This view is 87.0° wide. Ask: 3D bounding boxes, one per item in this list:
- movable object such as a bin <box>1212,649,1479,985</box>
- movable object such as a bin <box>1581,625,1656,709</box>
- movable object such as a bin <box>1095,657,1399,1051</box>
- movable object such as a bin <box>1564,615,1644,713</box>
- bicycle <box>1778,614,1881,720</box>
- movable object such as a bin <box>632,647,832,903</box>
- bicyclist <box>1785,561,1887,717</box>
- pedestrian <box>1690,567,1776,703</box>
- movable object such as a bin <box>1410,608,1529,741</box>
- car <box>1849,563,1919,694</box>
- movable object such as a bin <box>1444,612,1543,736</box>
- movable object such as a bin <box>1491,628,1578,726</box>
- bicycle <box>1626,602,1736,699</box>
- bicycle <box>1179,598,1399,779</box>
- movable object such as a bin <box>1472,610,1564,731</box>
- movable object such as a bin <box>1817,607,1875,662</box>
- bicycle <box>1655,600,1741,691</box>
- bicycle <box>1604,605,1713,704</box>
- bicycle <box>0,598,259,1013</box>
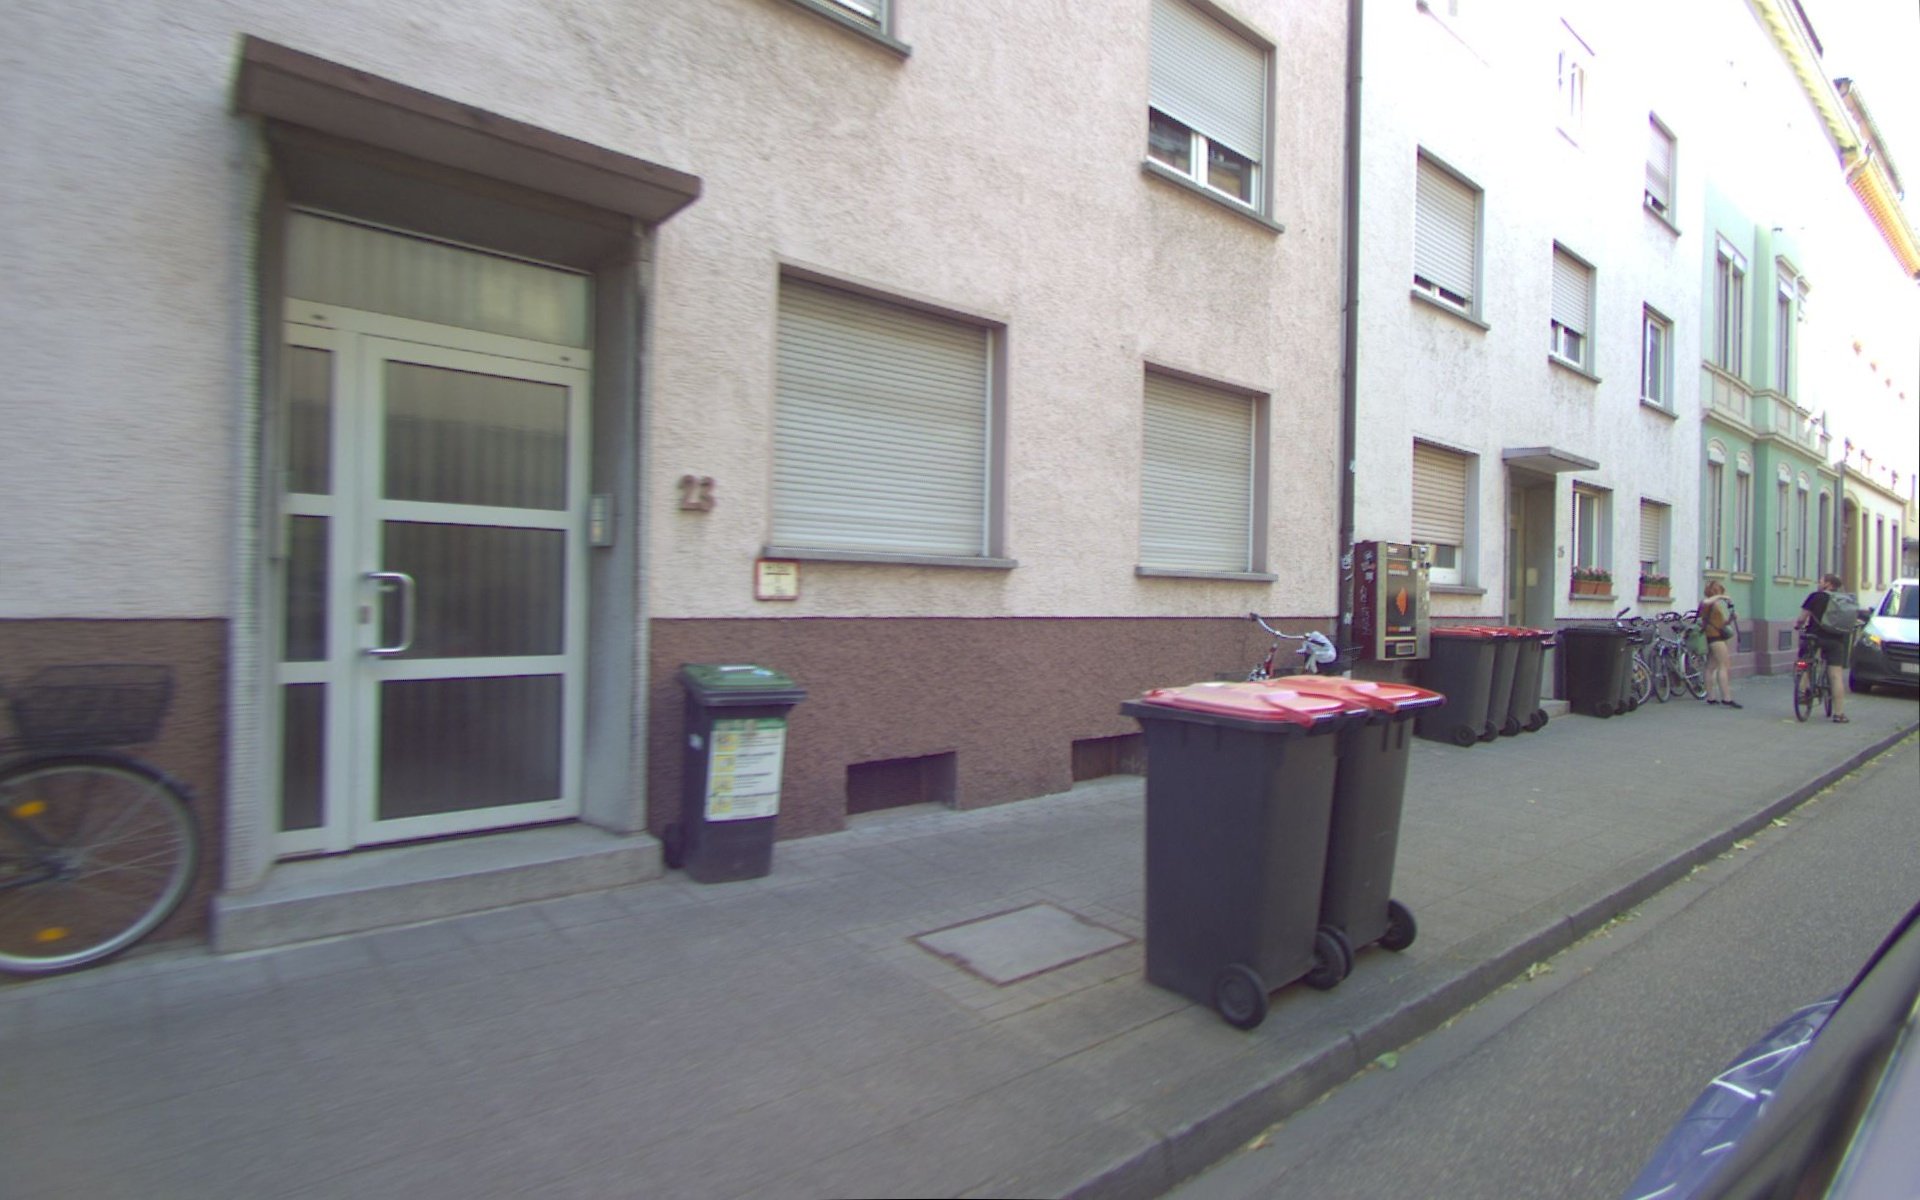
[{"bbox_3d":[1.520,0.779,4.015,0.691,1.094,0.734,0,1,-39],"label":"movable object such as a bin"},{"bbox_3d":[8.051,0.801,12.376,0.597,0.936,0.578,0,3,-40],"label":"movable object such as a bin"},{"bbox_3d":[0.994,0.793,3.552,0.680,1.100,0.770,0,1,-39],"label":"movable object such as a bin"},{"bbox_3d":[7.613,0.738,11.966,0.592,1.075,0.617,1,2,-40],"label":"movable object such as a bin"},{"bbox_3d":[10.665,0.779,12.391,1.954,1.150,0.664,1,3,-43],"label":"bicycle"},{"bbox_3d":[-1.016,0.720,4.496,0.670,0.963,0.599,0,1,-39],"label":"movable object such as a bin"},{"bbox_3d":[10.703,0.450,12.361,0.808,1.792,0.761,2,2,-42],"label":"bicyclist"},{"bbox_3d":[10.187,0.431,13.341,0.672,1.733,0.658,0,1,-28],"label":"pedestrian"},{"bbox_3d":[4.720,0.662,9.387,0.628,1.110,0.741,0,4,-39],"label":"movable object such as a bin"},{"bbox_3d":[16.565,0.480,16.697,5.501,1.906,1.988,0,4,-41],"label":"car"},{"bbox_3d":[5.153,0.691,9.780,0.582,1.119,0.658,1,1,-39],"label":"movable object such as a bin"},{"bbox_3d":[6.009,0.782,10.586,0.594,0.946,0.607,0,1,-39],"label":"movable object such as a bin"},{"bbox_3d":[9.866,0.647,13.815,2.222,1.221,0.439,0,1,-34],"label":"bicycle"},{"bbox_3d":[2.550,0.605,7.705,2.040,1.184,0.538,0,5,-41],"label":"bicycle"},{"bbox_3d":[5.580,0.683,10.129,0.559,1.136,0.629,0,1,-39],"label":"movable object such as a bin"},{"bbox_3d":[18.922,0.722,21.612,0.661,1.102,0.815,0,1,-38],"label":"movable object such as a bin"},{"bbox_3d":[10.784,0.631,14.764,2.119,1.221,0.406,0,1,-37],"label":"bicycle"},{"bbox_3d":[9.062,0.667,13.108,1.833,1.168,0.570,0,1,-36],"label":"bicycle"},{"bbox_3d":[-3.109,0.585,2.807,1.885,1.148,0.454,0,3,-39],"label":"bicycle"}]
